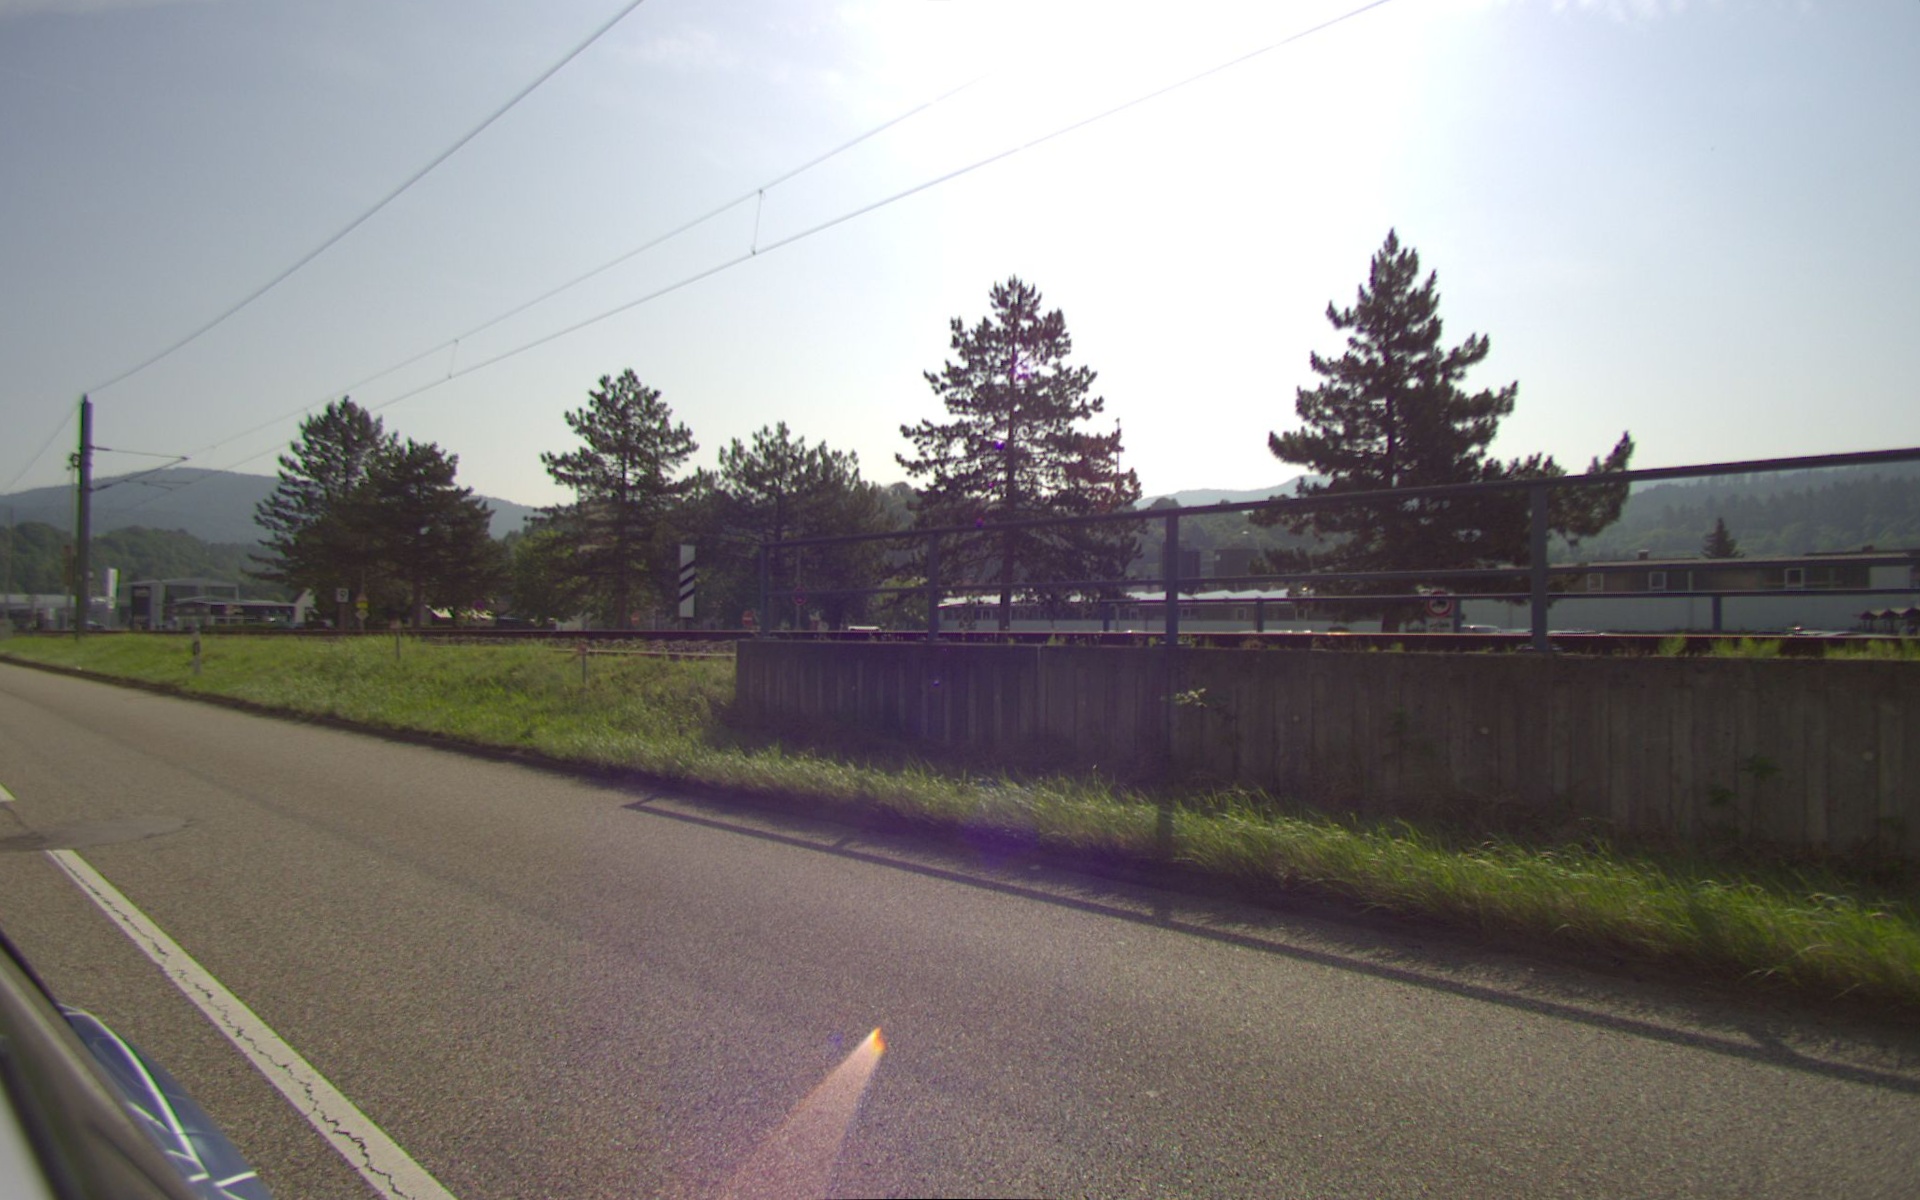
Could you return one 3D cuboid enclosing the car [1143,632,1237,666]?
[{"bbox_3d":[9.396,2.000,41.406,3.476,1.335,1.461,1,-2,-17],"label":"car"}]

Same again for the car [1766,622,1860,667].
[{"bbox_3d":[26.515,1.380,31.558,1.450,1.335,3.504,-1,-3,27],"label":"car"}]

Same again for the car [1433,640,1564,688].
[{"bbox_3d":[15.798,1.848,29.902,1.433,1.335,3.545,1,-2,-12],"label":"car"}]

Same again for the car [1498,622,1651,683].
[{"bbox_3d":[18.093,1.525,30.017,1.619,1.701,3.815,1,-2,-13],"label":"car"}]

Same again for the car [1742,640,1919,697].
[{"bbox_3d":[22.132,1.690,25.626,1.433,1.335,3.545,1,-2,-12],"label":"car"}]

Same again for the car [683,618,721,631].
[{"bbox_3d":[-29.863,2.805,117.175,3.954,1.464,1.465,0,-2,9],"label":"car"}]

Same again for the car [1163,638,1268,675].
[{"bbox_3d":[9.437,2.073,37.392,3.476,1.335,1.461,1,-2,-17],"label":"car"}]

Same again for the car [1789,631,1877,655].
[{"bbox_3d":[49.646,2.422,57.597,3.493,1.335,1.455,0,-2,6],"label":"car"}]

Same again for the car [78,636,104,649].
[{"bbox_3d":[-114.900,5.611,133.737,4.358,1.701,1.506,-1,-1,34],"label":"car"}]

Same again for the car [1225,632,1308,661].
[{"bbox_3d":[14.373,2.192,47.436,3.476,1.335,1.461,1,-2,-16],"label":"car"}]

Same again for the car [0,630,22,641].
[{"bbox_3d":[-143.695,5.334,151.889,1.658,1.539,3.924,-1,0,33],"label":"car"}]

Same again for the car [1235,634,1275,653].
[{"bbox_3d":[25.311,3.740,86.934,1.540,1.534,3.547,1,-2,-16],"label":"car"}]

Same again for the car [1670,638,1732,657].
[{"bbox_3d":[52.681,3.358,71.941,3.441,1.335,1.425,-2,-3,41],"label":"car"}]

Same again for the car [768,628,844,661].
[{"bbox_3d":[-8.033,2.334,52.970,3.795,1.655,1.689,0,-2,-3],"label":"car"}]

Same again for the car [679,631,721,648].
[{"bbox_3d":[-25.270,3.836,98.507,3.986,1.560,1.666,-1,-3,32],"label":"car"}]

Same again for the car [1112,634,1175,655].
[{"bbox_3d":[11.978,2.914,66.299,3.795,1.272,1.568,1,-2,-3],"label":"car"}]

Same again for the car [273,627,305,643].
[{"bbox_3d":[-58.472,3.058,88.228,2.889,1.362,1.378,-1,-3,36],"label":"car"}]

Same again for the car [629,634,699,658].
[{"bbox_3d":[-18.012,2.804,61.708,3.795,1.454,1.689,0,-2,-3],"label":"car"}]

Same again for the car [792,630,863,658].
[{"bbox_3d":[-7.343,2.431,56.330,3.795,1.518,1.689,0,-2,-3],"label":"car"}]

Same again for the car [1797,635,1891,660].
[{"bbox_3d":[47.938,2.553,54.921,3.502,1.335,1.451,0,-2,14],"label":"car"}]

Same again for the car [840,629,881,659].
[{"bbox_3d":[-4.712,2.047,47.661,1.539,1.335,3.866,1,-2,-11],"label":"car"}]
